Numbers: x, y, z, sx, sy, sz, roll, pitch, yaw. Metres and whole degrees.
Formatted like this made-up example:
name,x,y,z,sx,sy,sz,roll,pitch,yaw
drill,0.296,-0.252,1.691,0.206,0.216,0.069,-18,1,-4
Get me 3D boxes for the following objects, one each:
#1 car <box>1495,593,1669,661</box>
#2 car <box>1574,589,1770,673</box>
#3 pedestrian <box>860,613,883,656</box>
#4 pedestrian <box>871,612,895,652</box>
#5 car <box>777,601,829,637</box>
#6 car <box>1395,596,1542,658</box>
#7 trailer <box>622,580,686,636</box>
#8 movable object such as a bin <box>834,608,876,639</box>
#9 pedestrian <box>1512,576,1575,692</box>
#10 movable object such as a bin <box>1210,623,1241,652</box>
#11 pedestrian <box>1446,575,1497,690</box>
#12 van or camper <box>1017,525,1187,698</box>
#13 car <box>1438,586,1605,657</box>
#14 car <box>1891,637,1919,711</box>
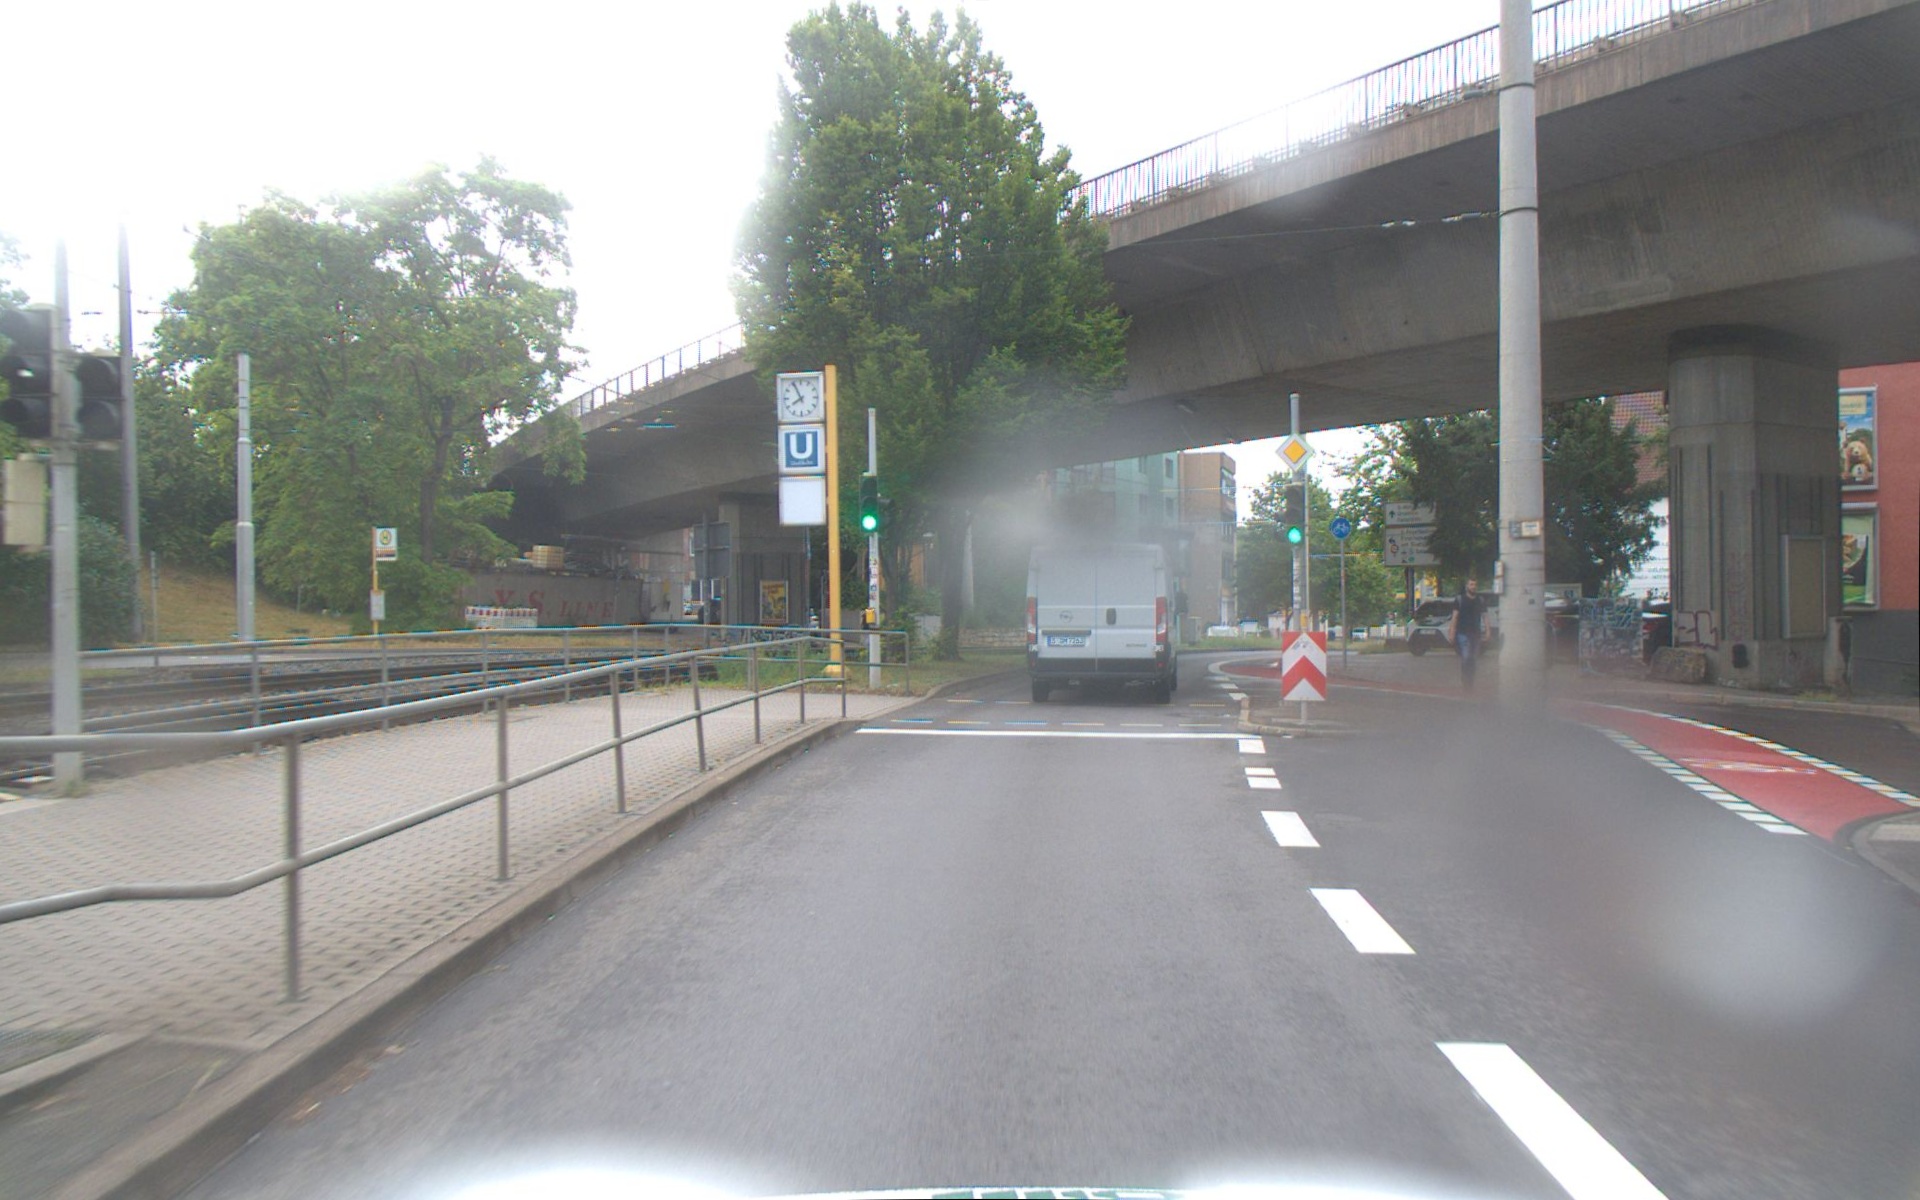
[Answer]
name,x,y,z,sx,sy,sz,roll,pitch,yaw
car,14.076,0.600,37.355,4.003,1.465,1.765,1,0,-35
car,14.960,0.660,34.722,3.948,1.599,1.884,3,-1,-32
pedestrian,-3.871,1.485,72.346,0.680,1.863,0.865,0,-1,27
pedestrian,-3.324,1.366,71.648,0.680,1.699,0.886,0,-1,29
car,-8.172,0.992,85.901,1.692,1.696,3.174,2,1,-25
car,13.270,0.695,43.113,3.692,1.548,1.781,1,-1,-35
trailer,-15.941,0.431,85.968,1.973,2.773,4.081,1,-1,-30
movable object such as a bin,-5.465,1.204,85.829,1.539,1.505,1.786,1,0,-28
pedestrian,9.601,0.557,27.234,0.586,1.854,0.908,2,-1,-8
movable object such as a bin,20.671,2.921,128.805,2.089,2.194,1.803,2,0,18
pedestrian,8.449,0.538,27.324,0.612,1.840,0.836,2,-1,6
van or camper,2.245,0.194,24.875,2.152,2.292,4.687,2,-1,9
car,13.792,0.538,40.596,3.977,1.659,1.943,1,-1,-35
car,23.562,1.763,37.608,3.907,1.623,1.999,3,1,23
